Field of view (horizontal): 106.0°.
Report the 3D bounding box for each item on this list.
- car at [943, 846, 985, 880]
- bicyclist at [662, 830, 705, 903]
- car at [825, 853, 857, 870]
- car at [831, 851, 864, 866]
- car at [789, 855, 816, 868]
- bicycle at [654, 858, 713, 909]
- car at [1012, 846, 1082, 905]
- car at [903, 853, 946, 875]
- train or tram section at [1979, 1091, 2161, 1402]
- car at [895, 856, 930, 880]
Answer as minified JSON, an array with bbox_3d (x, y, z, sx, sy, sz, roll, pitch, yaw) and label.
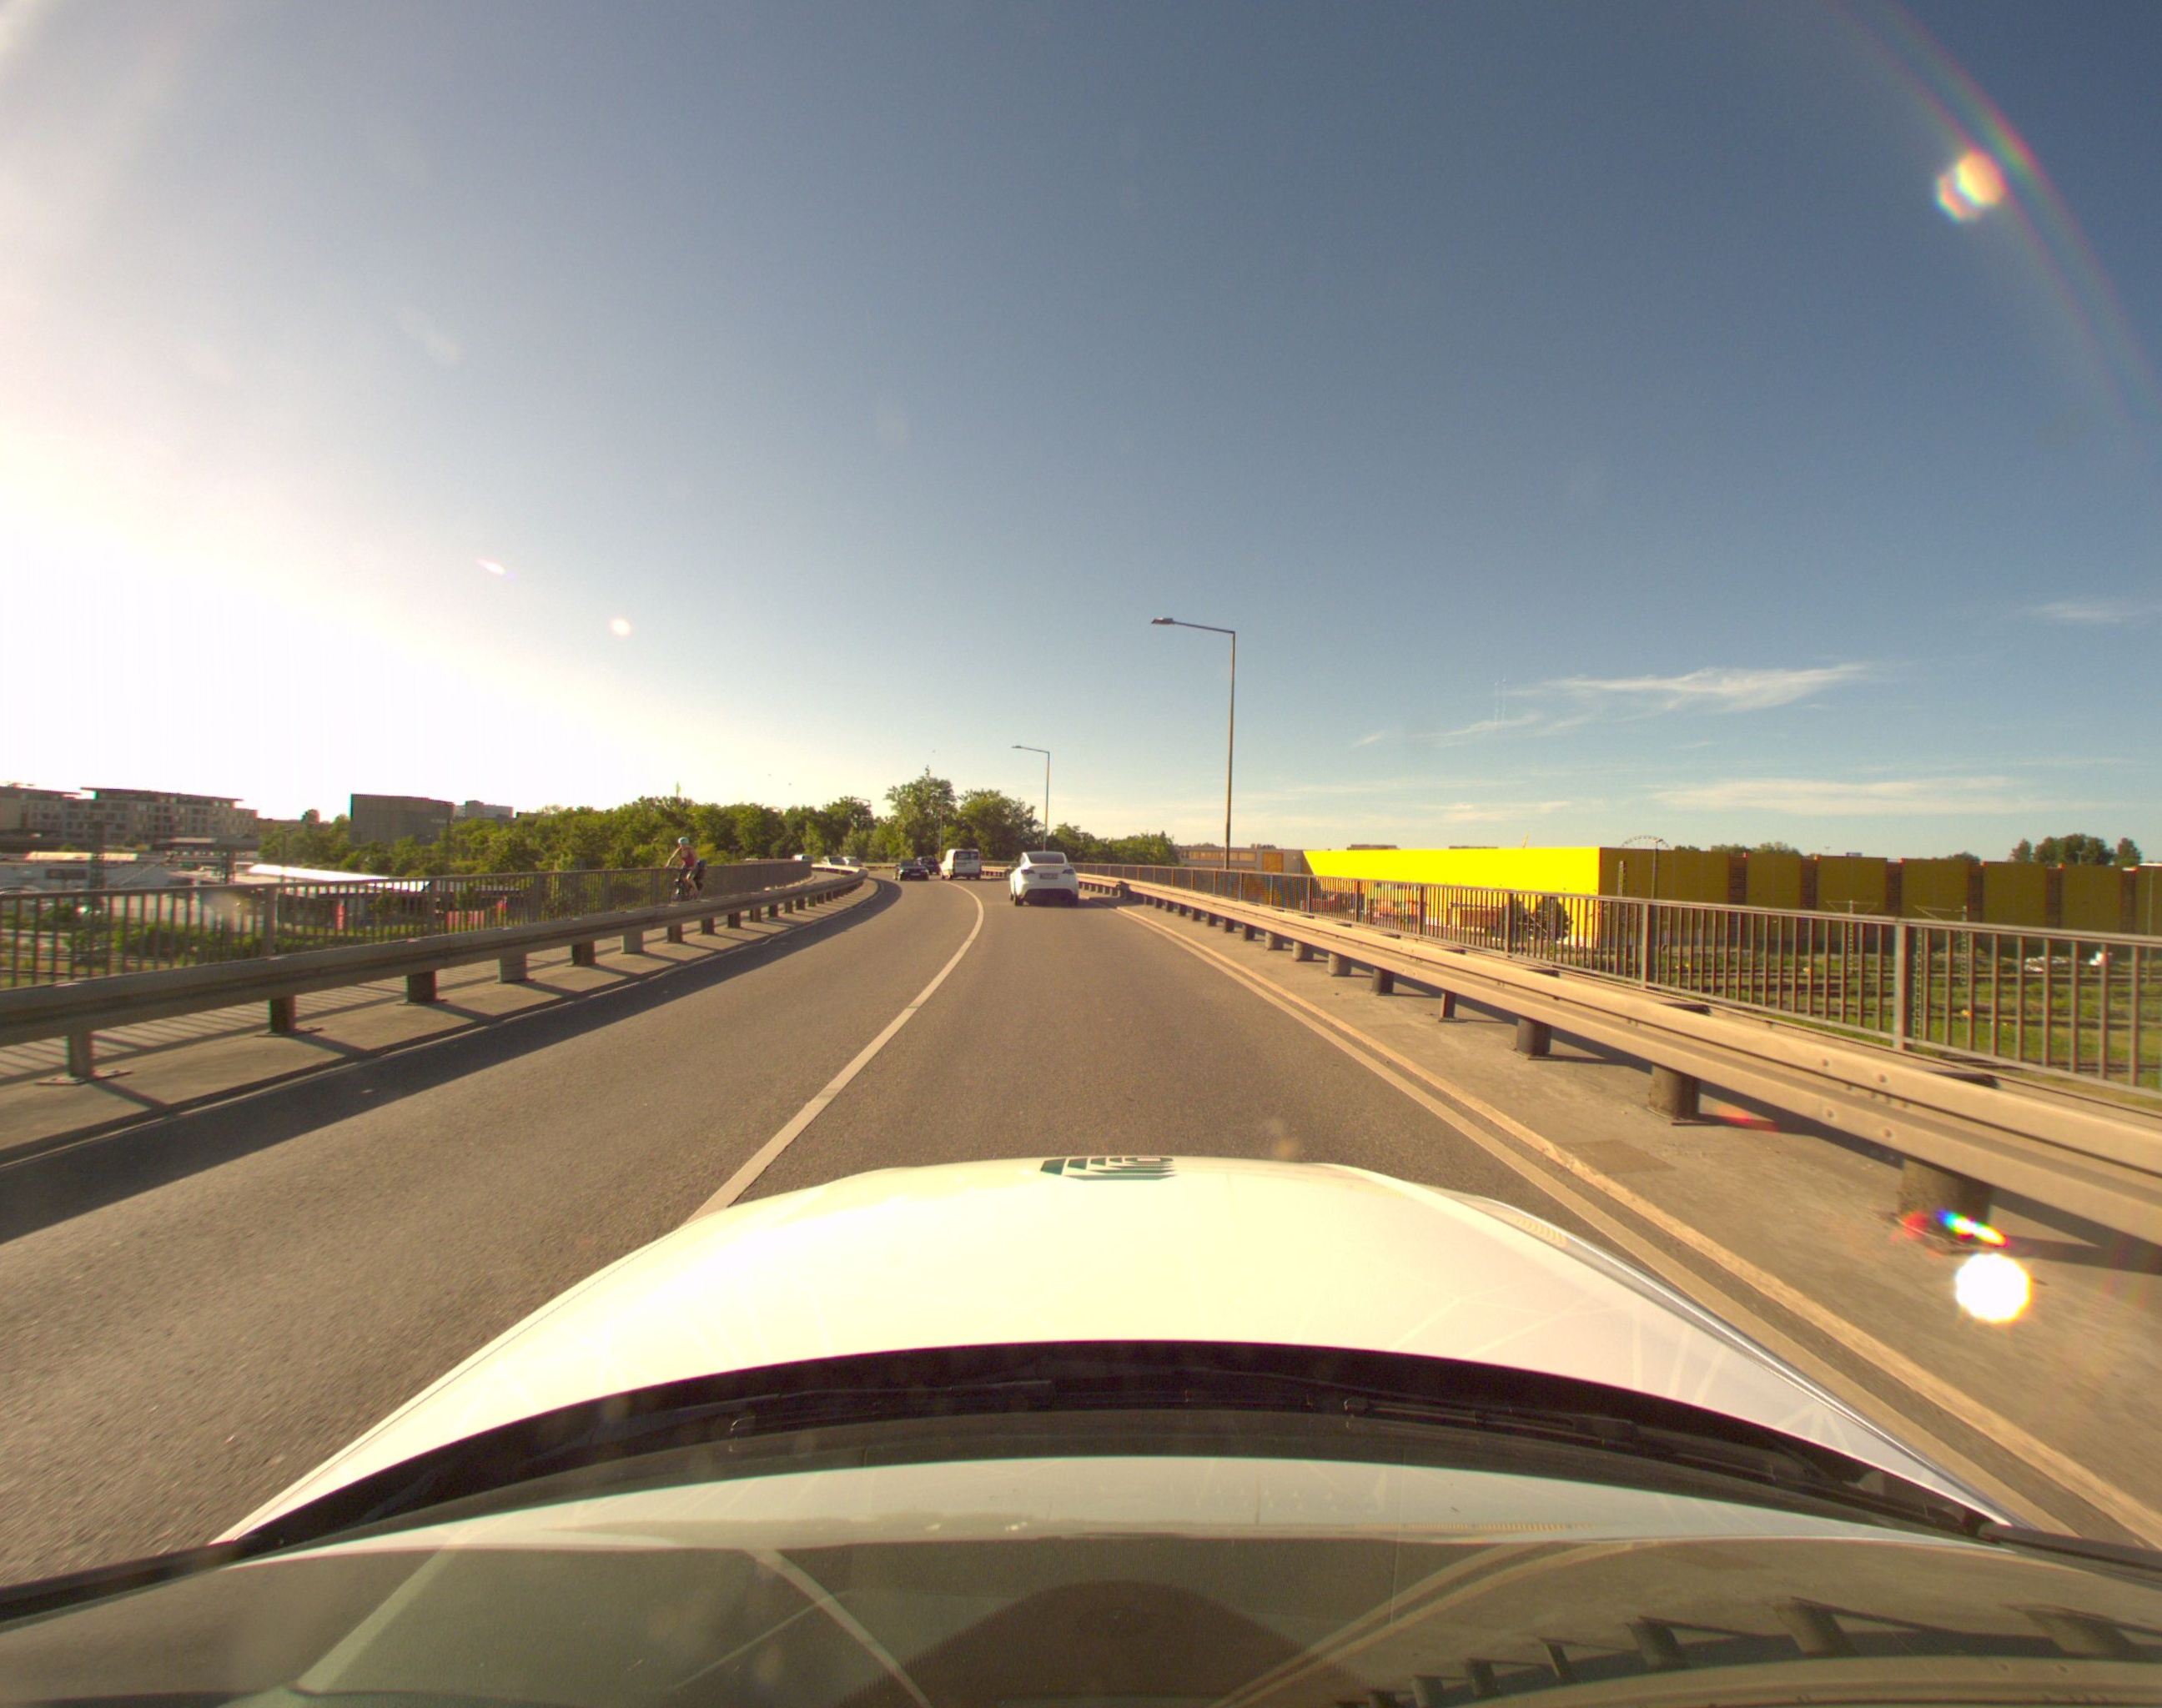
[{"bbox_3d":[-7.276,0.527,50.369,2.009,1.940,4.443,-1,0,-16],"label":"car"},{"bbox_3d":[-8.895,0.277,18.234,0.653,1.589,0.766,0,0,-9],"label":"bicyclist"},{"bbox_3d":[-23.477,0.723,79.674,1.862,1.623,4.059,0,0,-34],"label":"car"},{"bbox_3d":[-24.818,0.486,86.523,1.876,1.585,3.867,0,0,-43],"label":"car"},{"bbox_3d":[-34.139,0.857,99.793,1.851,1.555,3.848,0,0,-39],"label":"car"},{"bbox_3d":[-8.903,0.638,18.302,0.653,1.065,1.884,0,0,-9],"label":"bicycle"},{"bbox_3d":[-1.146,0.638,25.557,1.982,1.638,4.055,-2,0,-5],"label":"car"},{"bbox_3d":[-12.354,0.790,64.296,1.982,1.638,3.959,-1,0,-33],"label":"car"},{"bbox_3d":[28.789,8.750,19.466,13.040,5.265,3.326,-1,0,-10],"label":"train or tram section"},{"bbox_3d":[-10.384,0.830,50.023,1.749,1.355,4.157,-1,0,-17],"label":"car"}]
